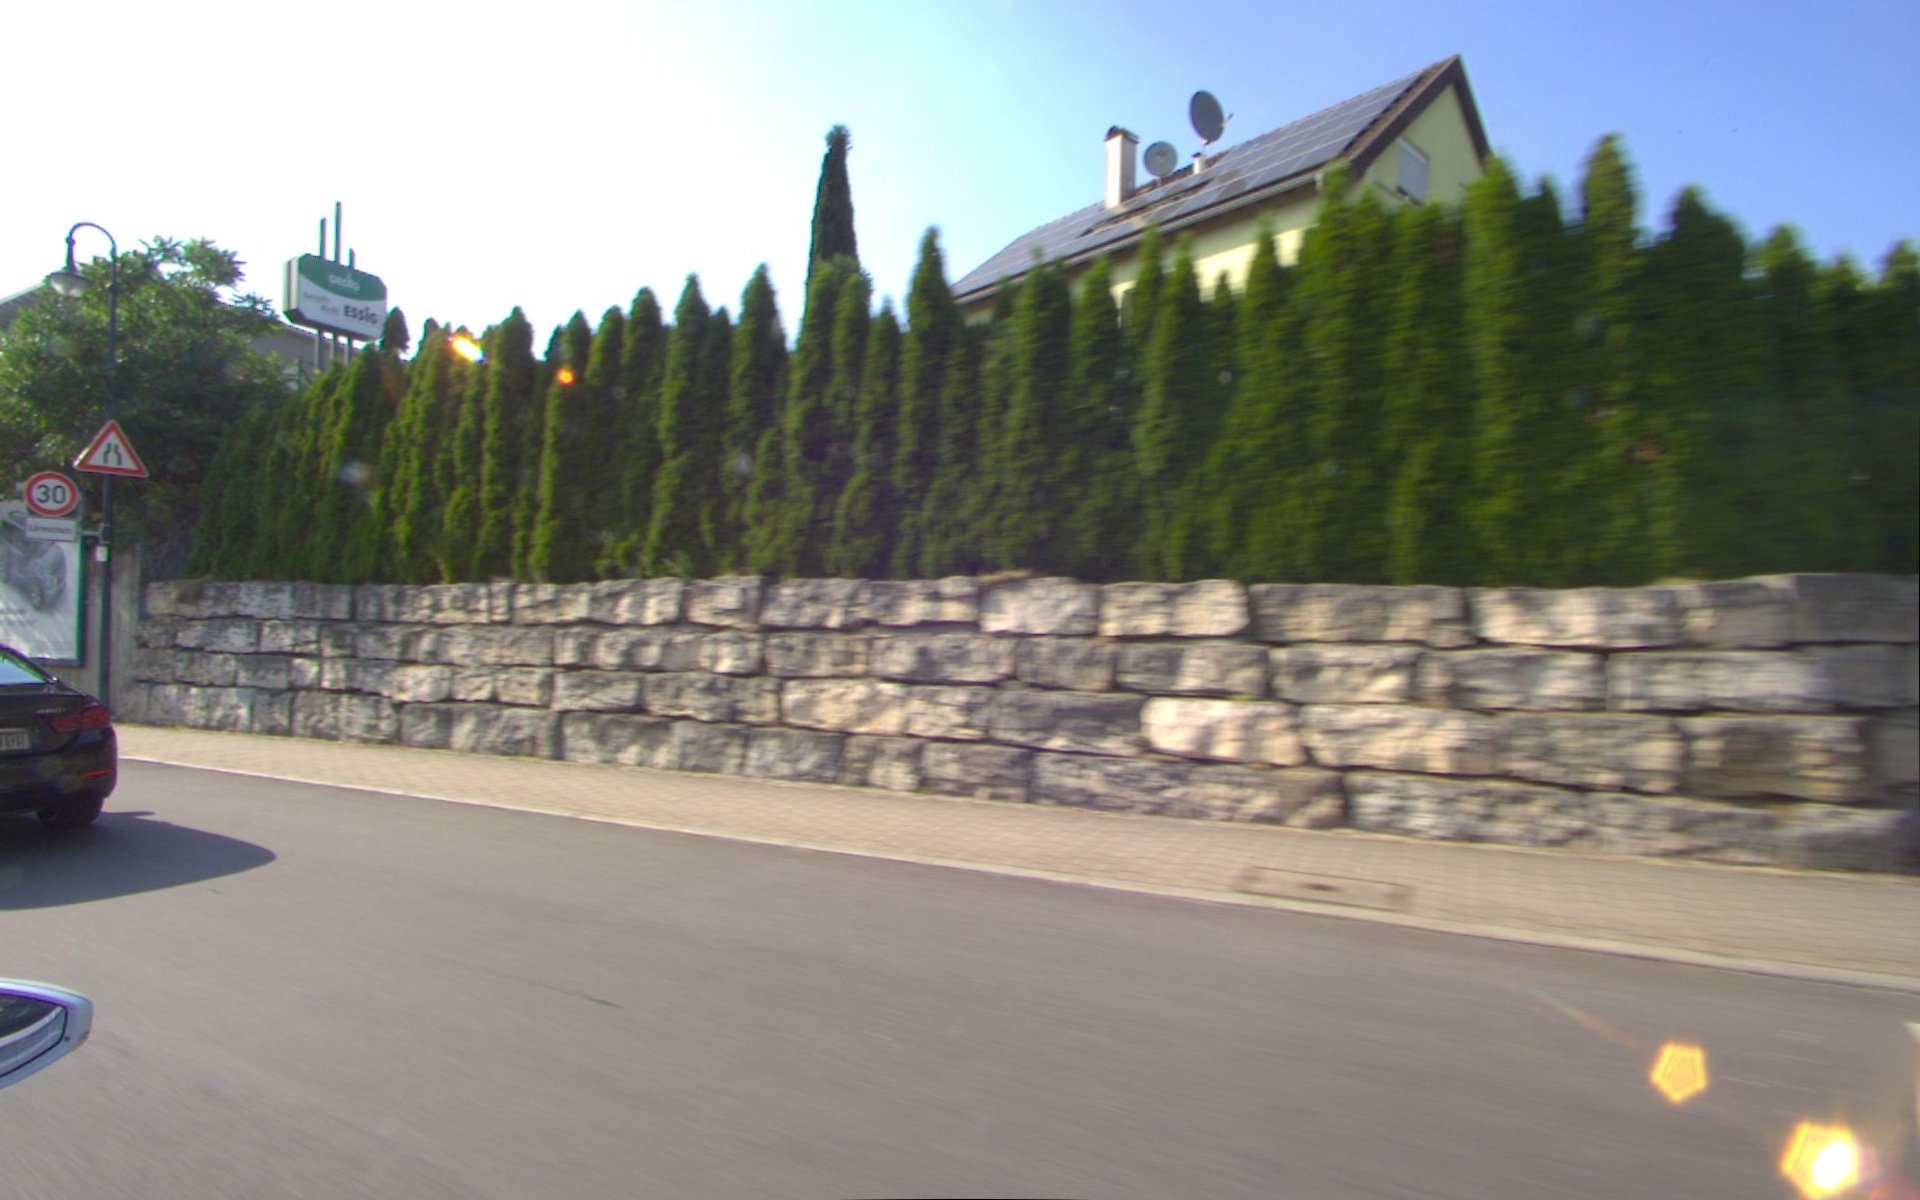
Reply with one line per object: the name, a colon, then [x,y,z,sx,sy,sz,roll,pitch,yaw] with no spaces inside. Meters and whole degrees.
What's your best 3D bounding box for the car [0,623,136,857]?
car: [-7.762,0.865,6.969,4.196,1.387,1.698,0,0,29]
